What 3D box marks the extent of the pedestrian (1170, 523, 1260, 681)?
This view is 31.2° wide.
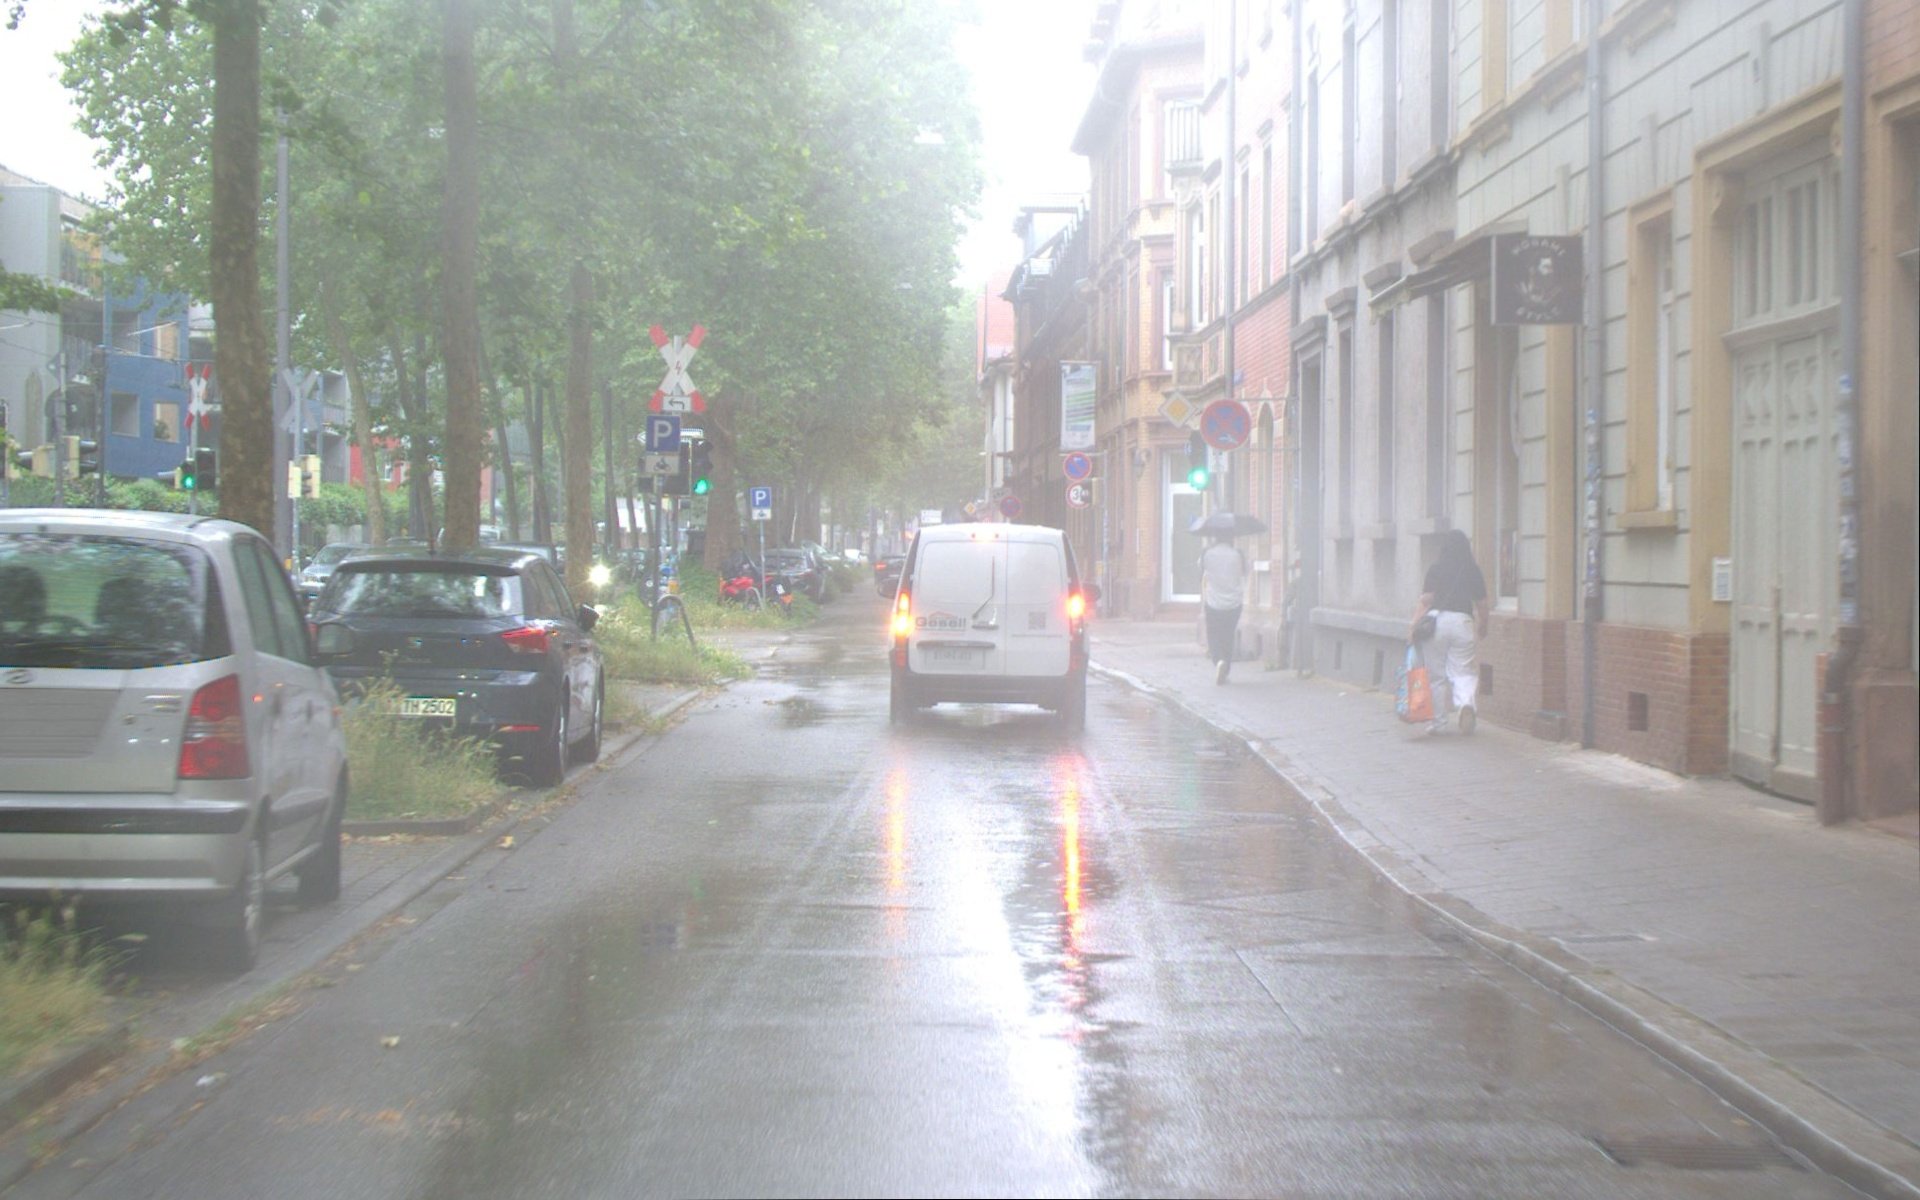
[{"bbox_3d":[2.856,0.011,38.569,0.840,1.710,1.108,-3,1,0],"label":"pedestrian"}]

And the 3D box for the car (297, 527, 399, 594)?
[{"bbox_3d":[-13.400,-0.885,75.432,1.993,1.410,4.001,1,1,-8],"label":"car"}]

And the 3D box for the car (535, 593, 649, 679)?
[{"bbox_3d":[-7.498,0.715,70.355,1.997,1.607,4.000,1,1,-2],"label":"car"}]

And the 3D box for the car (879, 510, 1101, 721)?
[{"bbox_3d":[0.246,0.148,31.823,1.903,1.791,4.113,1,0,0],"label":"car"}]

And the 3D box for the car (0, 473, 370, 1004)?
[{"bbox_3d":[-3.229,0.381,12.775,1.623,1.676,3.660,2,2,-4],"label":"car"}]

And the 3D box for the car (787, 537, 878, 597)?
[{"bbox_3d":[-3.033,-0.819,82.674,1.993,1.382,4.000,1,1,0],"label":"car"}]

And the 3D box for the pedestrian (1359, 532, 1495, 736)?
[{"bbox_3d":[3.587,0.244,26.469,0.840,1.506,1.108,-2,1,0],"label":"pedestrian"}]

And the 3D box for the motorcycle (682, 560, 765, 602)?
[{"bbox_3d":[-5.092,-0.405,74.042,1.706,0.862,0.577,1,1,4],"label":"motorcycle"}]

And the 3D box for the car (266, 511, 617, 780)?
[{"bbox_3d":[-3.221,0.244,22.062,1.649,1.495,4.119,3,1,-1],"label":"car"}]
